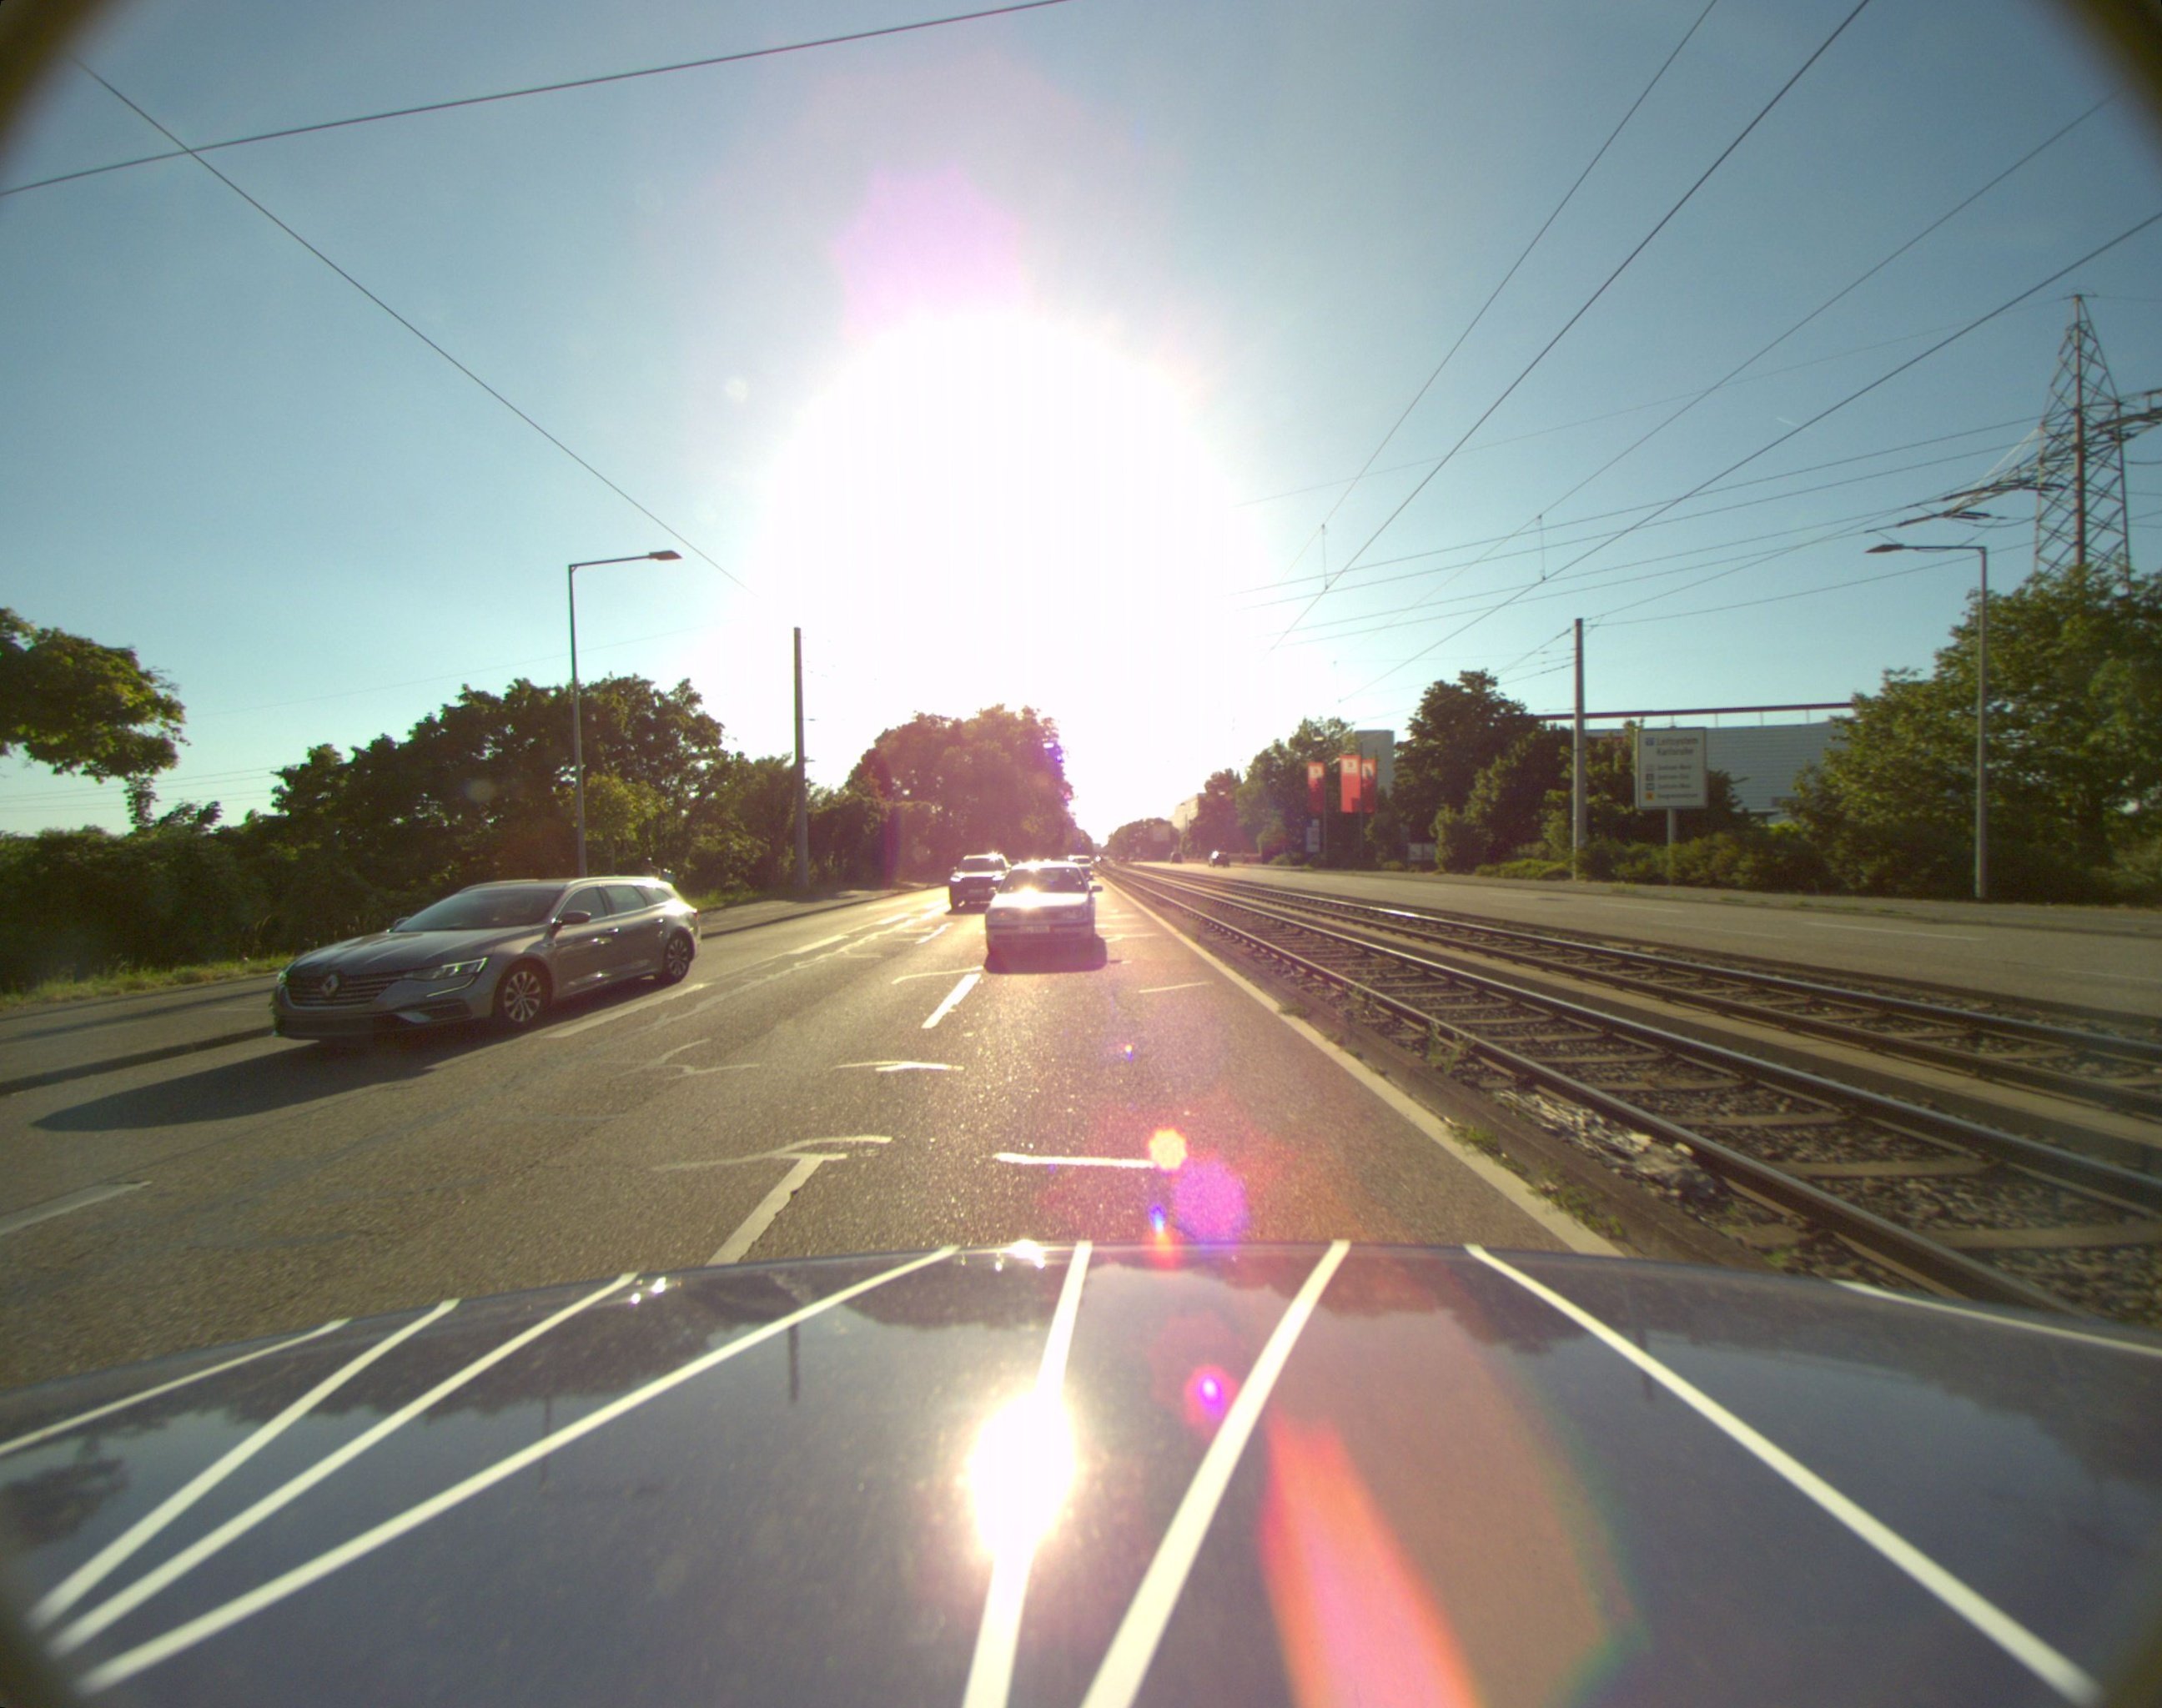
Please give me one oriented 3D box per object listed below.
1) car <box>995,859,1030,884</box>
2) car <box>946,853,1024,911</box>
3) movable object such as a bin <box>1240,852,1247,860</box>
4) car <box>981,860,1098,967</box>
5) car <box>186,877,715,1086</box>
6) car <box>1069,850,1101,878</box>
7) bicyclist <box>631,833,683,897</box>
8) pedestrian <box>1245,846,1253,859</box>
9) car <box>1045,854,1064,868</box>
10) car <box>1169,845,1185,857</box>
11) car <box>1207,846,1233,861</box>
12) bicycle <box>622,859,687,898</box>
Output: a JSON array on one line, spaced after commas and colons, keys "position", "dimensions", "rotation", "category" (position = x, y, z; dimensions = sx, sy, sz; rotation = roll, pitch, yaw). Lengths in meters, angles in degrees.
[{"position": [-4.428, 1.130, 49.699], "dimensions": [1.874, 1.405, 4.000], "rotation": [-2, 1, 0], "category": "car"}, {"position": [-3.022, 0.838, 24.891], "dimensions": [1.881, 1.591, 4.416], "rotation": [-2, 1, 1], "category": "car"}, {"position": [20.117, 0.229, 93.854], "dimensions": [0.614, 0.960, 1.083], "rotation": [-3, 1, 0], "category": "movable object such as a bin"}, {"position": [-0.608, 0.911, 13.337], "dimensions": [1.695, 1.437, 4.000], "rotation": [-2, 1, 0], "category": "car"}, {"position": [-6.275, 1.119, 8.535], "dimensions": [1.881, 1.435, 4.659], "rotation": [-2, 1, 2], "category": "car"}, {"position": [0.271, 0.612, 48.172], "dimensions": [1.881, 1.591, 4.416], "rotation": [-2, 1, 1], "category": "car"}, {"position": [-10.174, 0.248, 18.279], "dimensions": [0.628, 1.463, 1.060], "rotation": [2, 1, 0], "category": "bicyclist"}, {"position": [20.757, -0.192, 93.812], "dimensions": [0.614, 1.638, 1.082], "rotation": [-4, 1, -7], "category": "pedestrian"}, {"position": [-2.980, 0.811, 86.931], "dimensions": [1.881, 1.449, 4.416], "rotation": [-2, 1, 1], "category": "car"}, {"position": [15.508, -0.481, 122.722], "dimensions": [1.998, 1.785, 4.349], "rotation": [0, 1, 0], "category": "car"}, {"position": [15.543, -0.118, 85.140], "dimensions": [1.998, 1.616, 4.682], "rotation": [-1, 1, 0], "category": "car"}, {"position": [-10.185, 0.575, 18.202], "dimensions": [0.628, 0.829, 1.634], "rotation": [2, 1, 0], "category": "bicycle"}]
